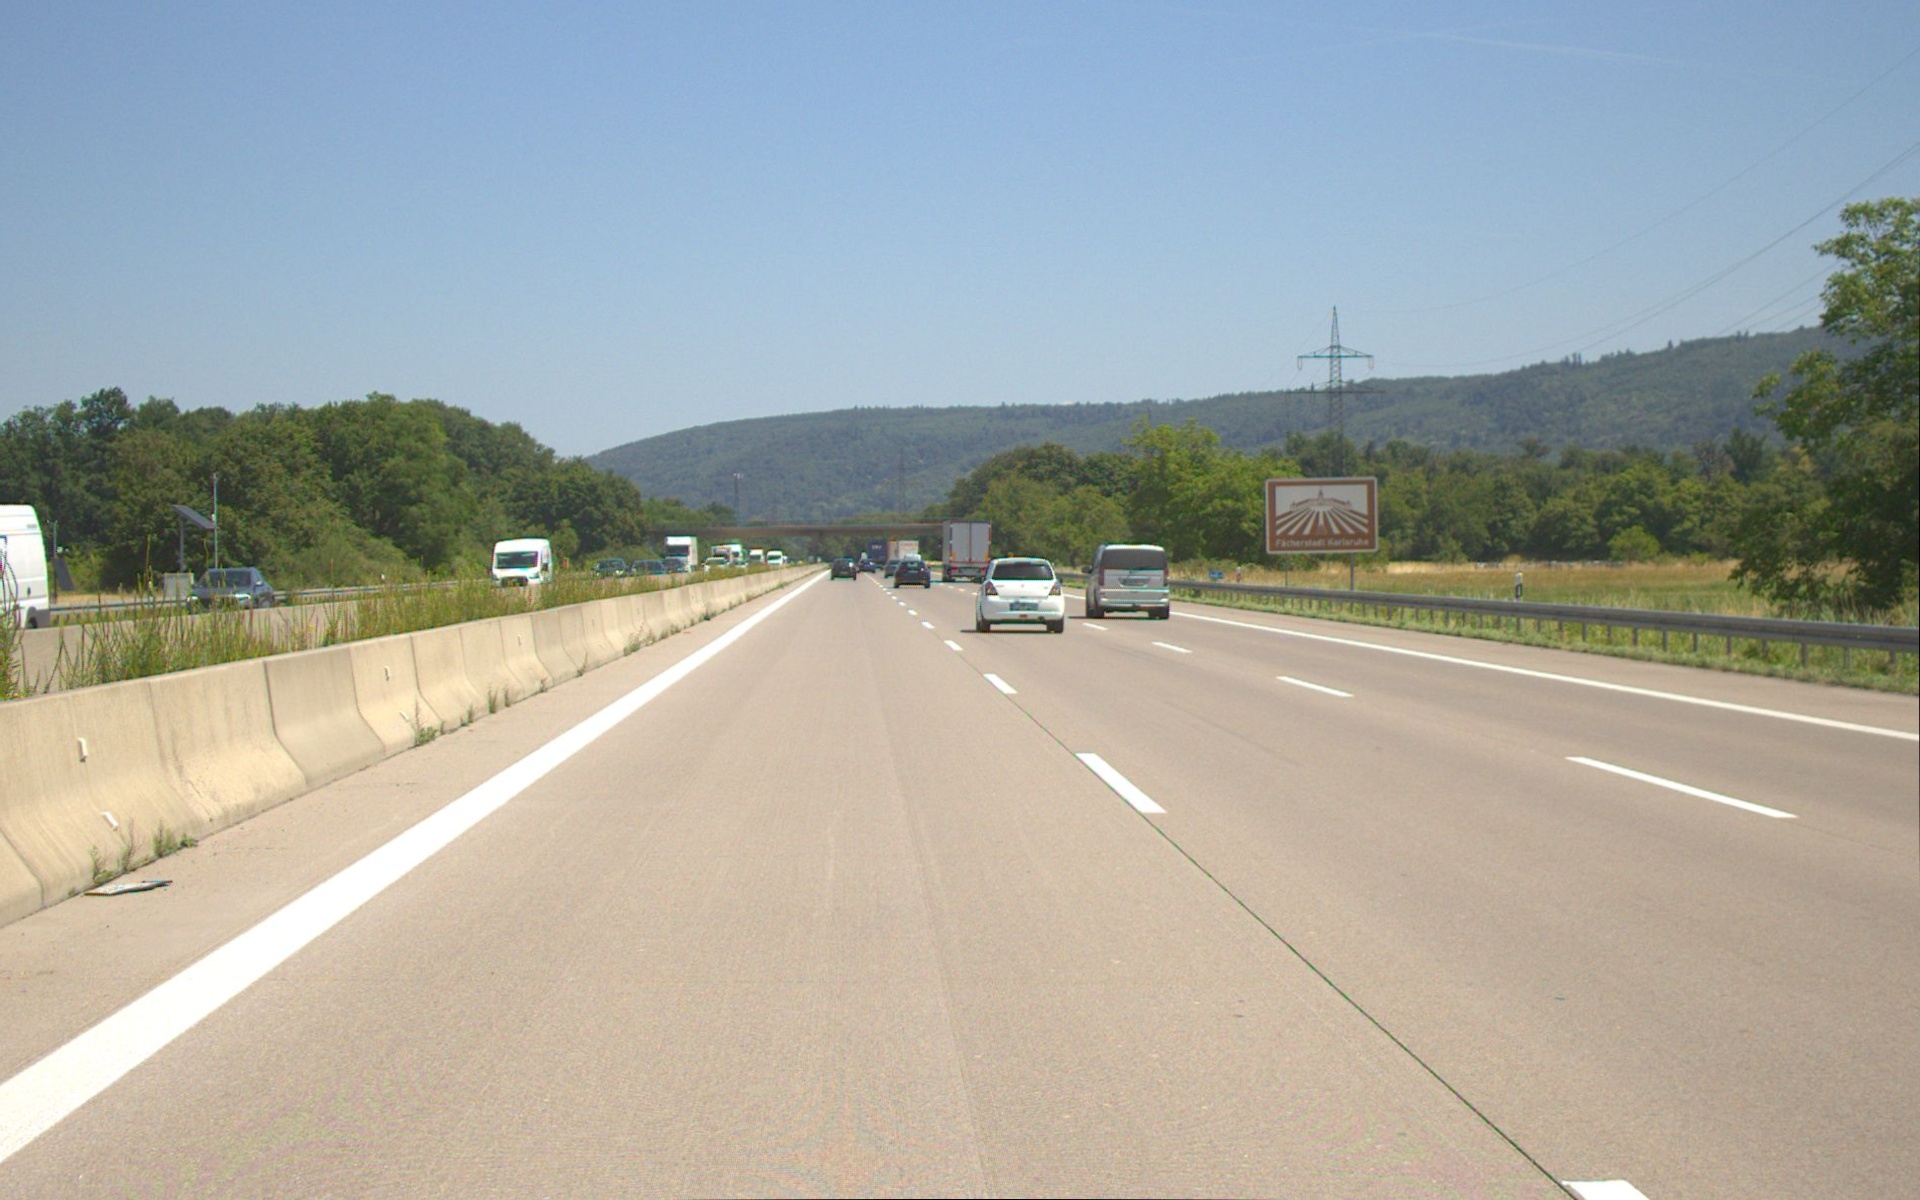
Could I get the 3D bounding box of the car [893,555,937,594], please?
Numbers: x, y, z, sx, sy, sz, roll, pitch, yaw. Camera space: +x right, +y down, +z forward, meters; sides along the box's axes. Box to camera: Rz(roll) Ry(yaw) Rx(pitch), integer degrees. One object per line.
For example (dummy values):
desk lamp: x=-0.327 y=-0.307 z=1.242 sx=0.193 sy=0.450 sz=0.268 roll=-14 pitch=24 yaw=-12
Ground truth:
car: x=-2.276 y=-1.320 z=173.803 sx=1.993 sy=1.842 sz=4.001 roll=3 pitch=1 yaw=-3

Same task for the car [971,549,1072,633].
car: x=1.238 y=-0.214 z=70.466 sx=1.819 sy=1.656 sz=4.001 roll=0 pitch=1 yaw=-2

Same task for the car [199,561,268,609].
car: x=-28.084 y=-0.595 z=132.968 sx=1.993 sy=1.777 sz=4.001 roll=1 pitch=1 yaw=-3

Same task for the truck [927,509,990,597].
truck: x=-0.142 y=-3.155 z=230.615 sx=3.720 sy=5.791 sz=7.055 roll=1 pitch=1 yaw=-3

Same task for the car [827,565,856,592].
car: x=-8.138 y=-1.502 z=235.766 sx=1.928 sy=1.787 sz=4.001 roll=1 pitch=1 yaw=-2

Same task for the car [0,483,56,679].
car: x=-14.836 y=-0.301 z=49.724 sx=2.263 sy=2.779 sz=7.073 roll=1 pitch=1 yaw=-6

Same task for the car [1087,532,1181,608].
car: x=4.438 y=-0.784 z=88.087 sx=1.993 sy=1.842 sz=4.001 roll=1 pitch=1 yaw=-2

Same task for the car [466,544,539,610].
car: x=-18.040 y=-0.929 z=135.678 sx=2.212 sy=2.511 sz=6.125 roll=1 pitch=1 yaw=-2

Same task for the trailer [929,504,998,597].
trailer: x=0.188 y=-3.239 z=224.170 sx=3.720 sy=5.791 sz=12.163 roll=1 pitch=1 yaw=-3

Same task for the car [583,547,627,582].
car: x=-19.999 y=-2.036 z=193.793 sx=1.993 sy=1.908 sz=4.402 roll=1 pitch=1 yaw=0

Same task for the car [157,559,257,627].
car: x=-19.677 y=-0.214 z=89.986 sx=1.753 sy=1.678 sz=4.843 roll=1 pitch=1 yaw=-3
